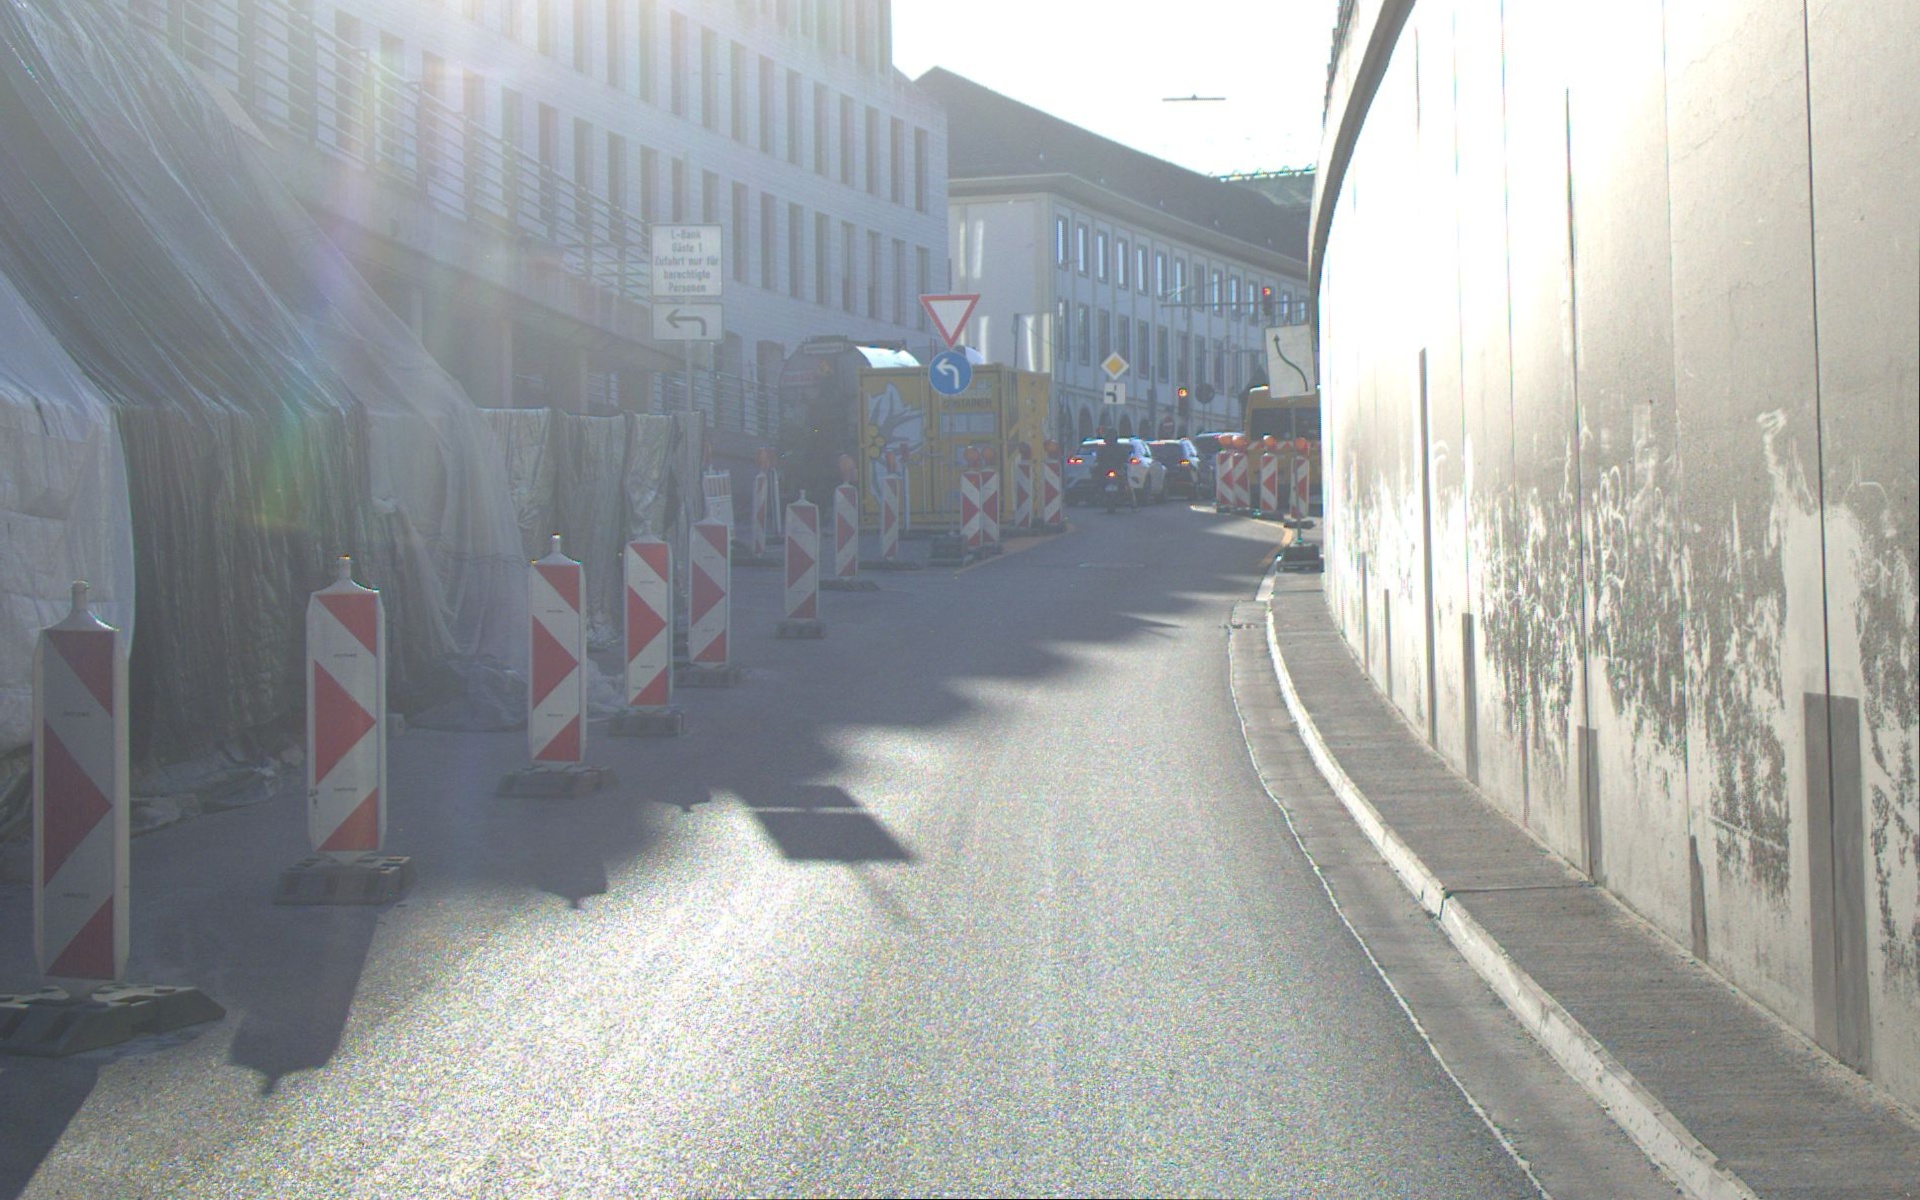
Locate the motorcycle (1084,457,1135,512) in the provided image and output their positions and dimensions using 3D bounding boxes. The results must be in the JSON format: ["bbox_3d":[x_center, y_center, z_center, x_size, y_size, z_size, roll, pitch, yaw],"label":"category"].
[{"bbox_3d":[3.000,-2.298,68.779,0.771,0.989,2.183,0,-1,9],"label":"motorcycle"}]

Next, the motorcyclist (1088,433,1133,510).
[{"bbox_3d":[3.011,-2.566,68.786,0.804,1.499,0.776,0,-1,10],"label":"motorcyclist"}]

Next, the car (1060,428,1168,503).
[{"bbox_3d":[3.417,-2.930,75.572,1.777,1.598,3.998,1,2,11],"label":"car"}]

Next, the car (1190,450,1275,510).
[{"bbox_3d":[7.100,-3.112,89.336,1.857,1.528,3.999,1,2,10],"label":"car"}]

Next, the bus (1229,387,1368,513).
[{"bbox_3d":[7.129,-3.136,72.046,2.226,2.548,4.424,1,2,14],"label":"bus"}]

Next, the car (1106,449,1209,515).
[{"bbox_3d":[4.711,-2.791,81.722,1.822,1.528,3.998,1,2,12],"label":"car"}]
